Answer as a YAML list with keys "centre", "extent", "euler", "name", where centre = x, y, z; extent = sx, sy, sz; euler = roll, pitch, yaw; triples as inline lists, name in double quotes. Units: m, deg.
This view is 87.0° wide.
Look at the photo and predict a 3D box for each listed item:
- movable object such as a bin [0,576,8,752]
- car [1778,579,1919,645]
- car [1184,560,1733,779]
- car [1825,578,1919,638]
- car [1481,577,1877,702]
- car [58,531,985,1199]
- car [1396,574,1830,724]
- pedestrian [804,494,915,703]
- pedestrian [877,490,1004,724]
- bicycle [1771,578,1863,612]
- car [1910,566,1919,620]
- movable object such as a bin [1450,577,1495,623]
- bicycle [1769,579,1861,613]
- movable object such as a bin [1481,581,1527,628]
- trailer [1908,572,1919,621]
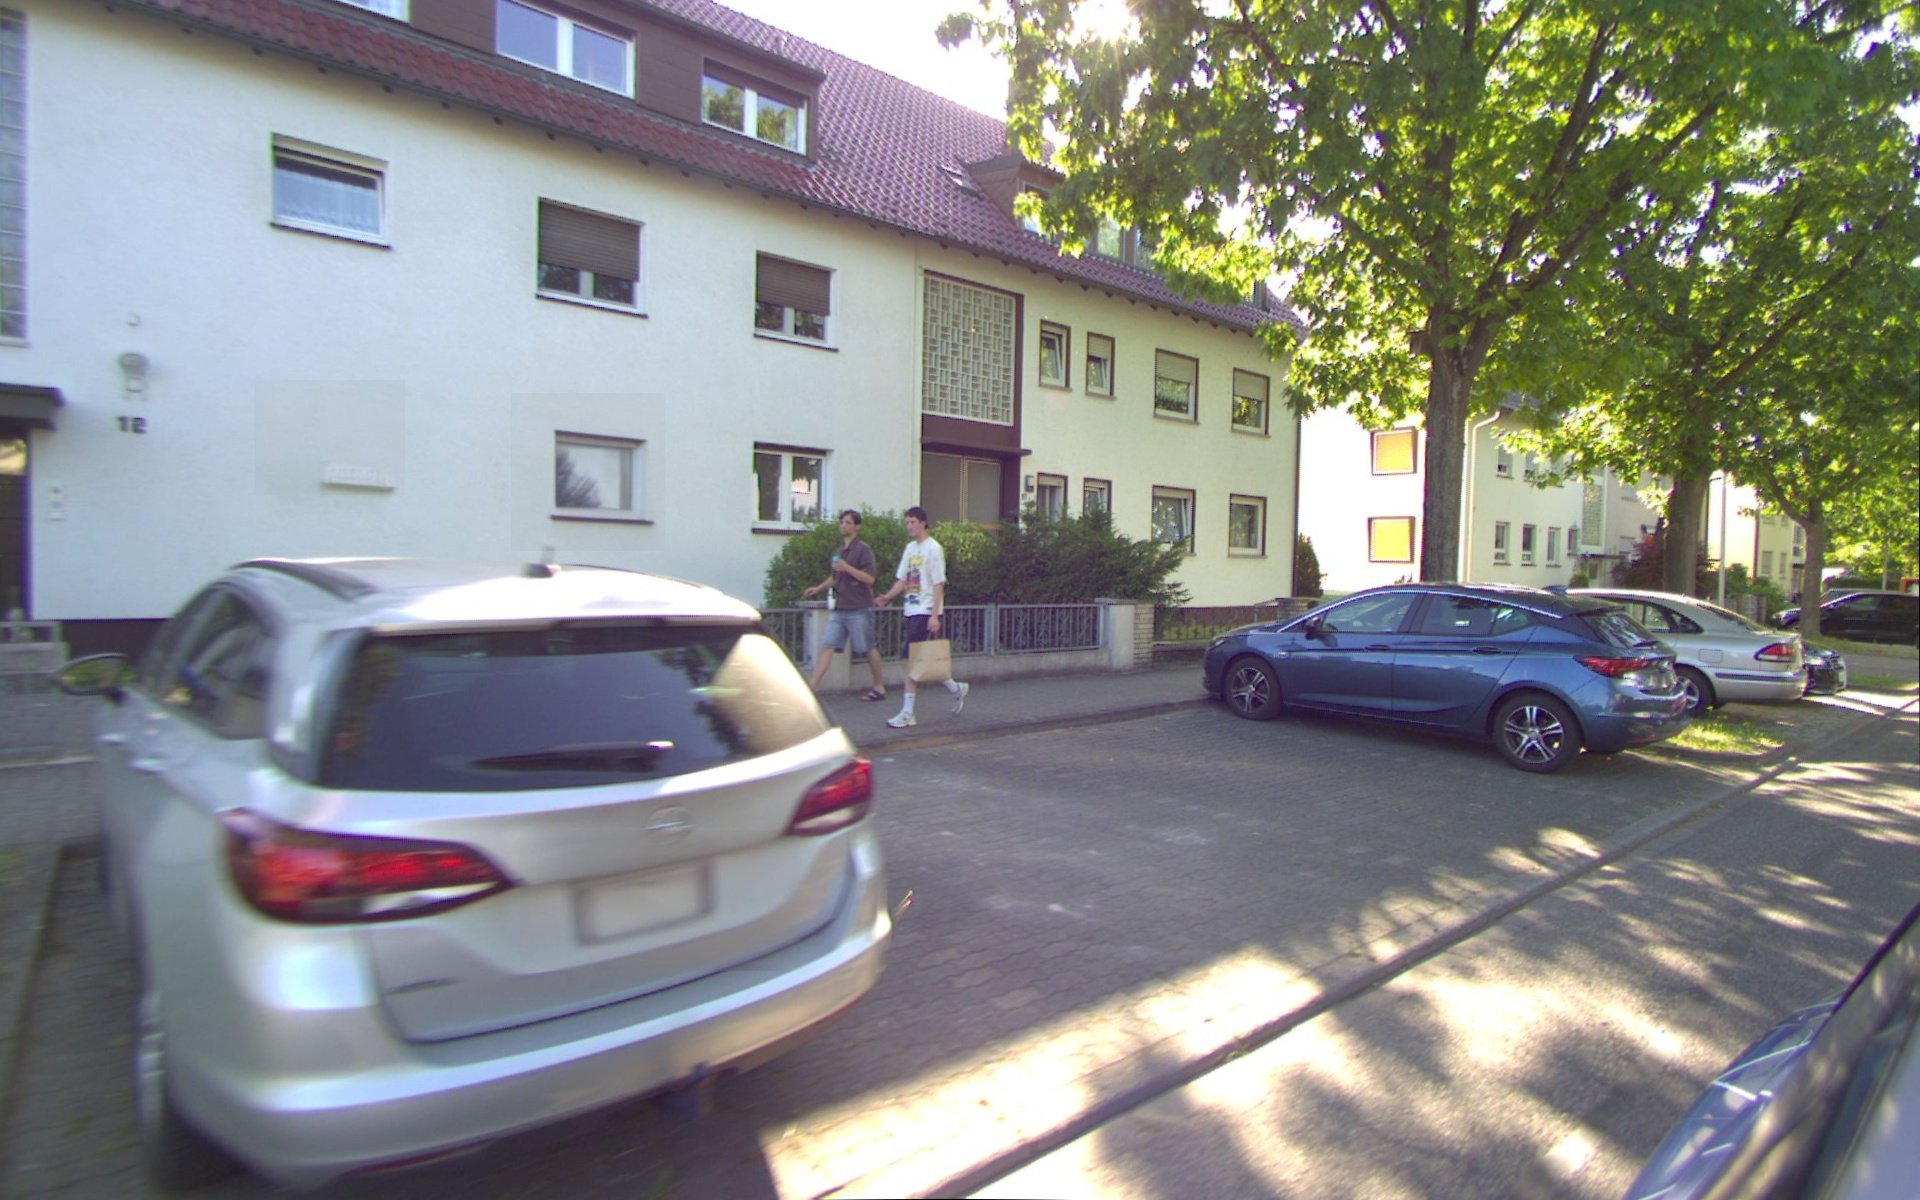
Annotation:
- centre: [-6.275, 0.390, 6.144]
  extent: [0.688, 1.058, 0.535]
  euler: [-1, 2, -41]
  name: "movable object such as a bin"
- centre: [23.947, 0.298, 26.301]
  extent: [1.631, 1.534, 3.894]
  euler: [-2, 3, -38]
  name: "car"
- centre: [4.393, 0.429, 9.553]
  extent: [1.764, 1.521, 4.288]
  euler: [0, 3, -38]
  name: "car"
- centre: [28.040, 0.238, 29.566]
  extent: [1.727, 1.643, 3.994]
  euler: [-2, 4, -41]
  name: "car"
- centre: [10.278, 0.439, 14.774]
  extent: [1.840, 1.379, 4.358]
  euler: [-1, 4, -39]
  name: "car"
- centre: [-2.112, 0.529, 3.836]
  extent: [1.767, 1.510, 4.433]
  euler: [-1, 3, -44]
  name: "car"
- centre: [8.033, 0.468, 12.771]
  extent: [1.767, 1.431, 4.282]
  euler: [-1, 3, -43]
  name: "car"
- centre: [-0.953, -0.038, 9.519]
  extent: [0.698, 1.850, 0.837]
  euler: [-1, 3, -39]
  name: "pedestrian"
- centre: [-0.169, 0.033, 8.717]
  extent: [0.907, 1.896, 0.610]
  euler: [-1, 3, -37]
  name: "pedestrian"
- centre: [36.319, -0.241, 42.947]
  extent: [0.459, 1.252, 2.868]
  euler: [-1, 5, -37]
  name: "bicycle"
- centre: [39.212, -0.173, 38.018]
  extent: [2.048, 2.109, 4.833]
  euler: [0, 3, -38]
  name: "car"
- centre: [12.994, -0.020, 25.656]
  extent: [0.890, 1.112, 0.704]
  euler: [-2, 3, -40]
  name: "movable object such as a bin"
- centre: [35.963, -0.209, 42.610]
  extent: [0.459, 1.252, 2.868]
  euler: [0, 4, -37]
  name: "bicycle"
- centre: [13.472, 0.098, 25.056]
  extent: [0.890, 1.125, 0.704]
  euler: [-2, 3, -40]
  name: "movable object such as a bin"
- centre: [35.358, -0.048, 35.468]
  extent: [1.588, 1.683, 2.950]
  euler: [-2, 5, -44]
  name: "trailer"
